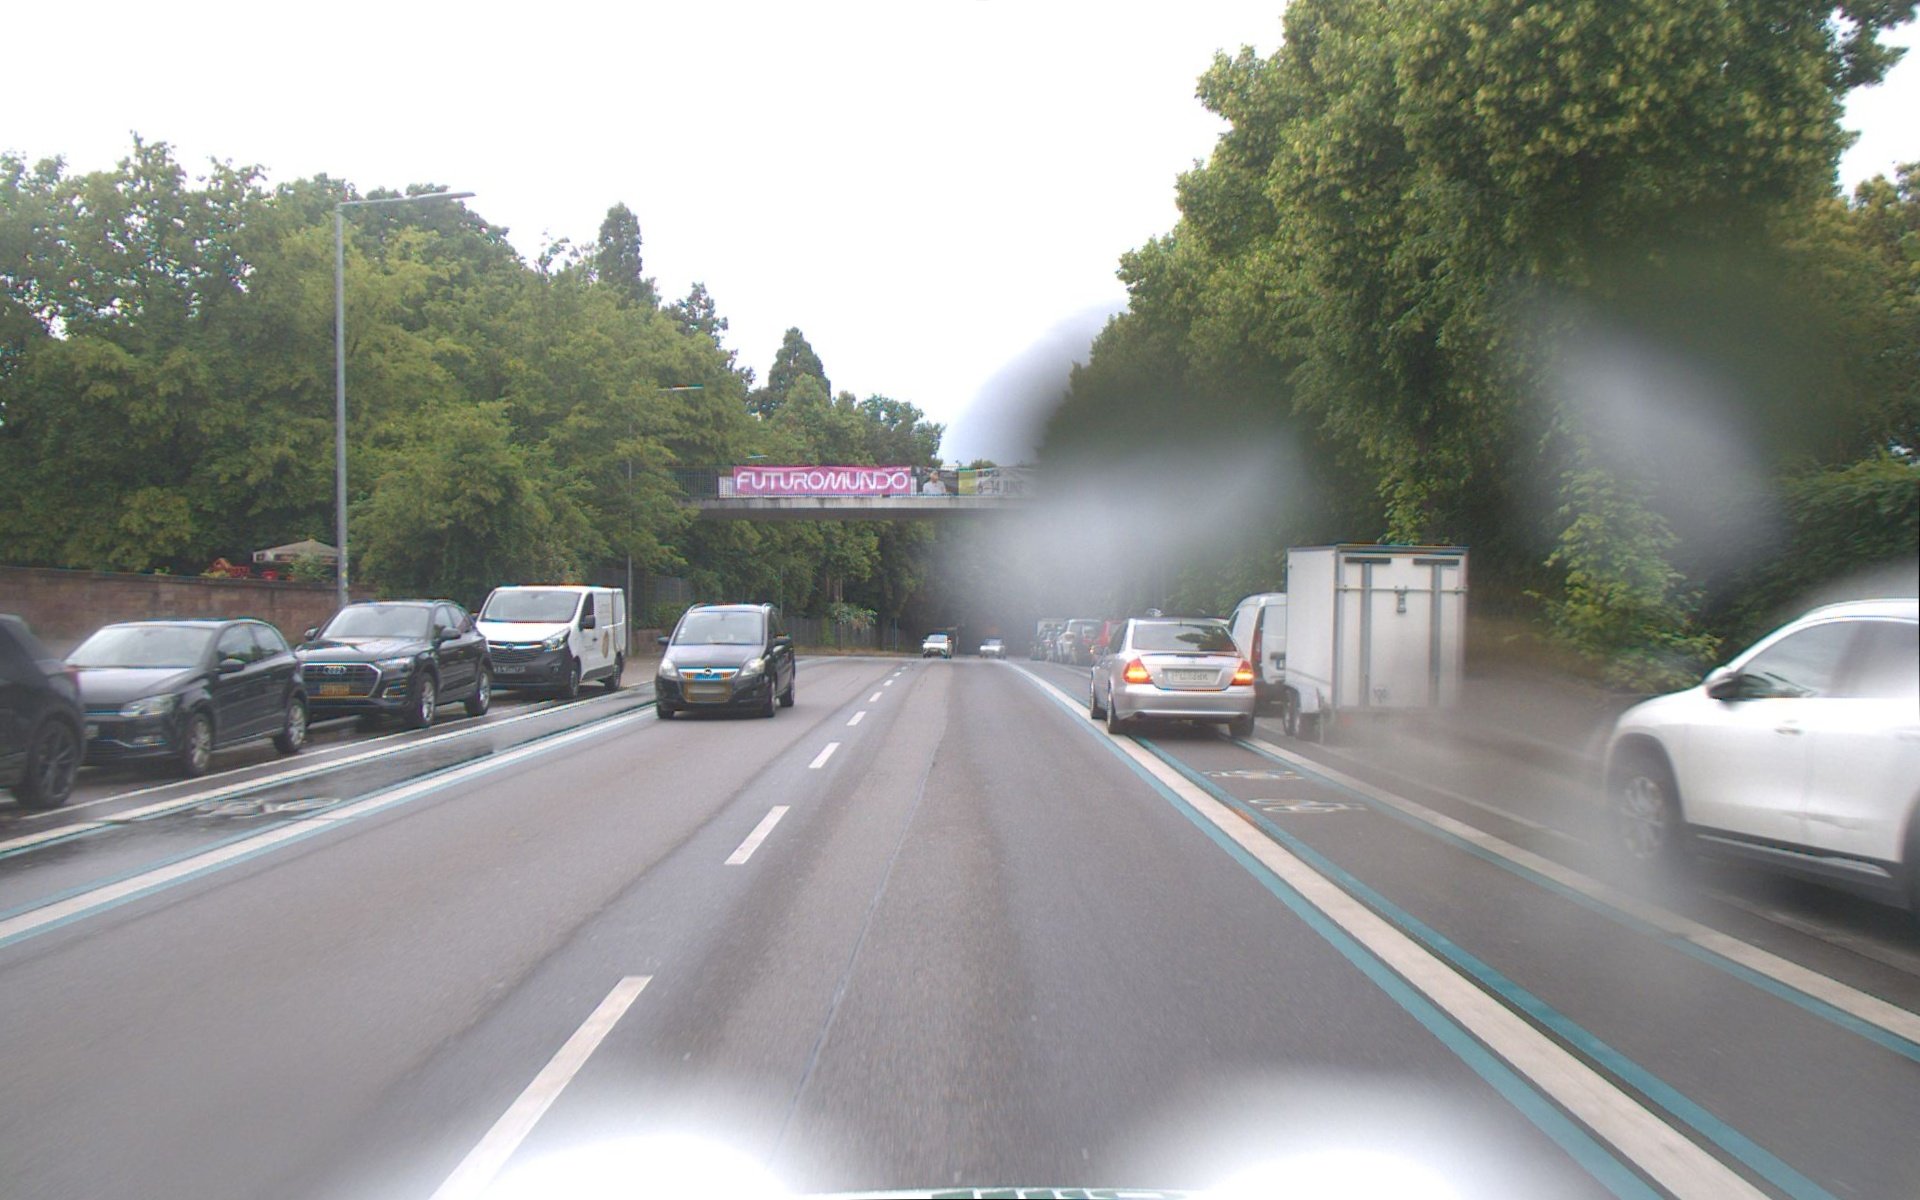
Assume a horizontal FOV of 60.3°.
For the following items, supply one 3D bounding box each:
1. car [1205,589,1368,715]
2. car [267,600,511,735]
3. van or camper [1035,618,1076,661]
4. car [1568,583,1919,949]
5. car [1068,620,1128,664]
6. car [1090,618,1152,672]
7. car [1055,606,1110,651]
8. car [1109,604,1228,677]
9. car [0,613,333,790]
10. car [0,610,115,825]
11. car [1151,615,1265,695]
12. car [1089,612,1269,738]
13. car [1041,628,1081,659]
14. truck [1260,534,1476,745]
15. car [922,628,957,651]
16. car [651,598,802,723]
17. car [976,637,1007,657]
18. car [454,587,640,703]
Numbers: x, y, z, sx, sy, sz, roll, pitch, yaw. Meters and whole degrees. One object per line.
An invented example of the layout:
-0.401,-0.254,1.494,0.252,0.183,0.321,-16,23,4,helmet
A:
5.089,0.767,26.318,1.687,1.822,4.345,1,0,0,car
-7.715,0.835,22.845,1.787,1.644,4.662,-1,0,-1,car
6.352,2.651,109.795,2.267,2.711,6.386,1,-2,7,van or camper
4.975,0.745,8.455,1.722,1.613,4.408,1,0,-6,car
4.737,1.479,57.367,1.638,1.418,4.449,1,-2,-1,car
4.893,1.338,50.591,1.527,1.492,3.625,1,1,0,car
4.626,1.111,63.025,1.679,1.647,4.259,1,-2,-2,car
4.833,0.907,38.973,1.954,1.587,4.639,1,0,-3,car
-7.735,0.891,16.327,1.575,1.471,4.037,-1,0,0,car
-7.735,0.860,11.363,1.674,1.530,4.150,-1,0,1,car
4.904,1.056,33.258,1.625,1.451,4.618,1,0,0,car
2.747,0.895,21.651,1.686,1.422,4.590,1,0,-1,car
4.748,2.069,78.398,1.738,1.372,4.466,1,-2,2,car
4.989,0.454,20.760,1.684,2.374,3.999,1,0,0,truck
-1.419,2.695,113.624,1.930,1.579,3.872,0,-1,6,car
-3.407,0.829,24.855,1.676,1.646,4.149,-2,0,-1,car
2.724,4.038,141.878,1.758,1.604,4.104,0,-2,15,car
-7.483,0.746,30.531,1.937,1.948,5.228,0,0,2,car
